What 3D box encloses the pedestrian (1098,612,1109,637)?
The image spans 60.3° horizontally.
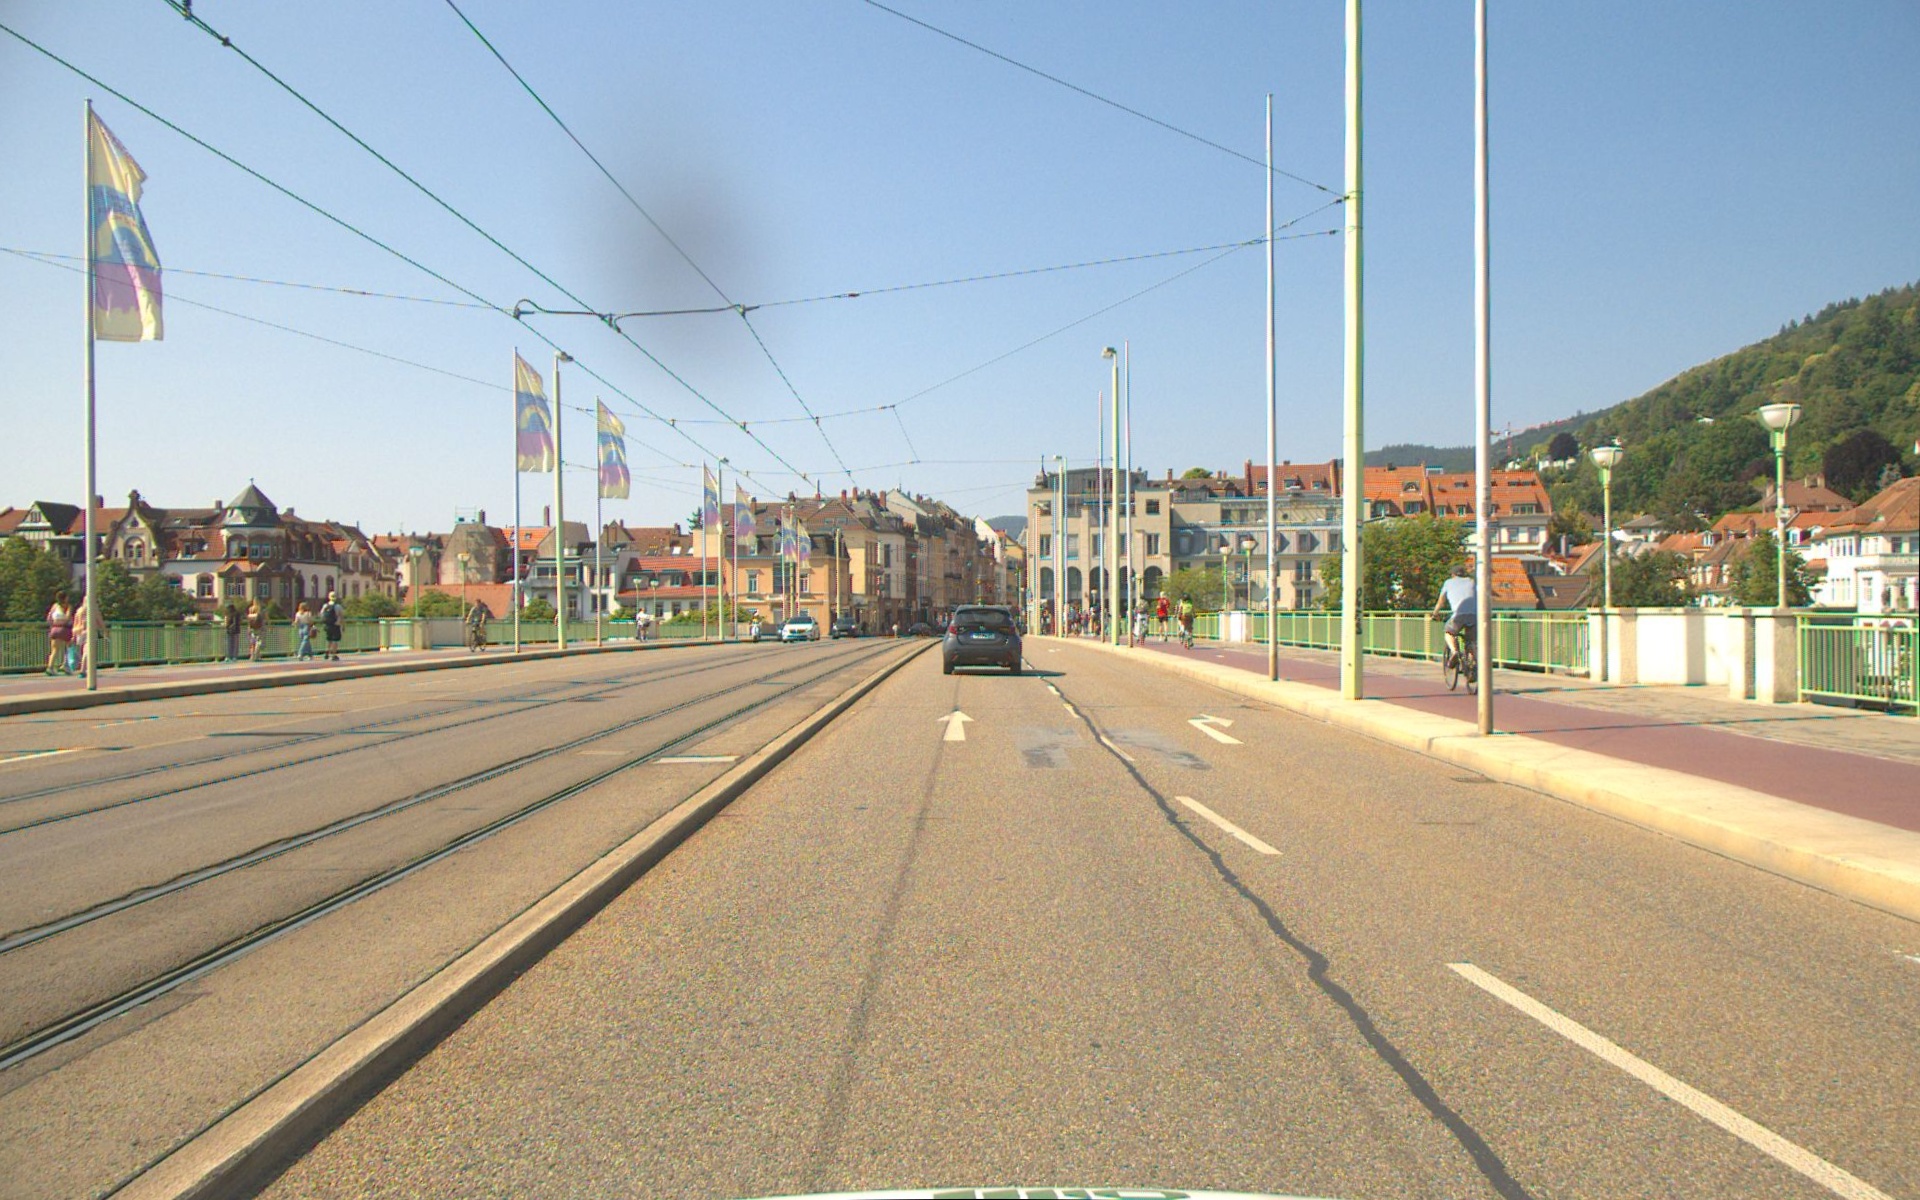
[{"bbox_3d":[8.747,1.480,101.030,0.601,1.491,0.848,0,-1,0],"label":"pedestrian"}]

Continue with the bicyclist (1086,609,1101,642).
[{"bbox_3d":[6.920,1.338,85.800,0.643,1.705,0.868,0,-1,-2],"label":"bicyclist"}]

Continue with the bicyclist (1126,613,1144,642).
[{"bbox_3d":[6.655,1.045,62.901,0.586,1.121,0.853,-1,-1,10],"label":"bicyclist"}]

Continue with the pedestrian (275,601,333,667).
[{"bbox_3d":[-17.844,0.911,45.016,1.075,1.759,1.294,0,0,-2],"label":"pedestrian"}]

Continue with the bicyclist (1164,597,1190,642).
[{"bbox_3d":[7.537,0.677,57.426,0.720,1.527,0.980,0,-1,-1],"label":"bicyclist"}]

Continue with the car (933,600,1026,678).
[{"bbox_3d":[0.386,0.823,36.871,1.871,1.567,3.999,-1,0,-2],"label":"car"}]

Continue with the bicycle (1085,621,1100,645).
[{"bbox_3d":[6.890,1.695,85.857,0.581,1.199,1.939,0,-1,-1],"label":"bicycle"}]

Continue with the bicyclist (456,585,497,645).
[{"bbox_3d":[-16.383,0.500,56.056,1.075,1.995,1.129,0,0,-2],"label":"bicyclist"}]

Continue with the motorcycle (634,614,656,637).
[{"bbox_3d":[-15.820,1.264,83.005,0.686,1.129,2.178,0,-1,0],"label":"motorcycle"}]

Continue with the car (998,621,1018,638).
[{"bbox_3d":[4.561,2.800,157.614,1.766,1.494,4.001,-2,-1,3],"label":"car"}]

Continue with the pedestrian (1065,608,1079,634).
[{"bbox_3d":[7.507,1.413,110.942,0.817,1.719,0.869,-1,0,0],"label":"pedestrian"}]

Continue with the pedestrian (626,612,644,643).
[{"bbox_3d":[-18.682,1.589,95.043,0.813,1.752,1.094,0,-1,0],"label":"pedestrian"}]

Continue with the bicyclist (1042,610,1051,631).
[{"bbox_3d":[6.657,1.607,127.640,0.639,1.594,1.338,-2,-1,3],"label":"bicyclist"}]

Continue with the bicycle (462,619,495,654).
[{"bbox_3d":[-16.330,1.219,56.113,0.577,1.116,2.112,0,0,-2],"label":"bicycle"}]

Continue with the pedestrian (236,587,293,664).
[{"bbox_3d":[-18.795,0.671,44.701,1.075,2.049,1.129,0,0,-2],"label":"pedestrian"}]

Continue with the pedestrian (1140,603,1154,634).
[{"bbox_3d":[9.711,0.977,86.047,0.587,1.614,0.866,0,-1,-2],"label":"pedestrian"}]

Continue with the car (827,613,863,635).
[{"bbox_3d":[-8.901,1.863,128.210,1.951,1.627,4.341,-1,0,7],"label":"car"}]

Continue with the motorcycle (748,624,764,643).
[{"bbox_3d":[-12.403,2.015,100.624,0.686,1.129,2.178,0,-1,0],"label":"motorcycle"}]

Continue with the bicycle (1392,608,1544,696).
[{"bbox_3d":[7.150,0.690,23.562,0.776,1.115,3.741,-1,0,-4],"label":"bicycle"}]

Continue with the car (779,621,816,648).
[{"bbox_3d":[-9.154,1.910,92.945,1.956,1.434,4.540,0,0,-7],"label":"car"}]

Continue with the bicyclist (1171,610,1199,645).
[{"bbox_3d":[6.910,0.854,50.904,0.653,1.063,0.979,0,-1,-5],"label":"bicyclist"}]

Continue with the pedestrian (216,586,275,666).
[{"bbox_3d":[-18.651,0.663,43.206,1.075,2.049,1.129,0,0,-2],"label":"pedestrian"}]

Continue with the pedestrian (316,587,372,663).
[{"bbox_3d":[-16.834,0.670,45.222,1.075,2.049,1.294,0,0,-2],"label":"pedestrian"}]

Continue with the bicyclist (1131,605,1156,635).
[{"bbox_3d":[6.555,0.698,59.035,0.720,1.048,1.175,0,-1,-1],"label":"bicyclist"}]

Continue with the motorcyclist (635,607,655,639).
[{"bbox_3d":[-15.820,1.139,82.968,0.784,1.576,1.069,0,-1,0],"label":"motorcyclist"}]

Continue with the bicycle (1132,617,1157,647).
[{"bbox_3d":[6.562,1.133,58.927,0.606,1.056,2.050,0,-1,-1],"label":"bicycle"}]

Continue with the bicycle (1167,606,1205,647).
[{"bbox_3d":[6.890,0.817,50.513,0.681,1.214,2.077,-1,-1,-5],"label":"bicycle"}]

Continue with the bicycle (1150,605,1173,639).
[{"bbox_3d":[7.886,0.846,64.796,0.606,1.293,2.215,0,-1,-1],"label":"bicycle"}]

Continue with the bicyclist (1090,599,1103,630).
[{"bbox_3d":[7.551,0.819,91.439,0.615,1.719,0.869,0,-1,-1],"label":"bicyclist"}]

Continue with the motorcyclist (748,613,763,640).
[{"bbox_3d":[-12.458,1.604,100.770,0.810,1.601,0.832,0,-1,0],"label":"motorcyclist"}]

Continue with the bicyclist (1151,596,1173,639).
[{"bbox_3d":[7.911,0.686,64.769,0.720,1.664,0.866,0,-1,-2],"label":"bicyclist"}]

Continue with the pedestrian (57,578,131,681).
[{"bbox_3d":[-17.563,0.578,33.565,0.950,2.049,1.100,0,0,-5],"label":"pedestrian"}]

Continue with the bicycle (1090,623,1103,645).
[{"bbox_3d":[7.588,1.878,91.720,0.515,1.199,2.028,0,-1,-1],"label":"bicycle"}]

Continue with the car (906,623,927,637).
[{"bbox_3d":[-5.218,3.582,197.704,1.951,1.505,4.003,-1,0,7],"label":"car"}]

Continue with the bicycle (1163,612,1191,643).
[{"bbox_3d":[7.539,0.937,57.455,0.606,1.056,2.266,0,0,-1],"label":"bicycle"}]

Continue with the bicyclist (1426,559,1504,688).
[{"bbox_3d":[7.133,0.326,23.405,0.660,1.774,1.149,-1,0,-4],"label":"bicyclist"}]

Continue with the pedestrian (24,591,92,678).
[{"bbox_3d":[-18.524,0.708,33.991,0.739,1.752,1.175,0,-1,-2],"label":"pedestrian"}]

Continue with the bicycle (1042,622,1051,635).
[{"bbox_3d":[6.686,2.211,127.657,0.639,0.999,2.179,-2,-1,3],"label":"bicycle"}]
